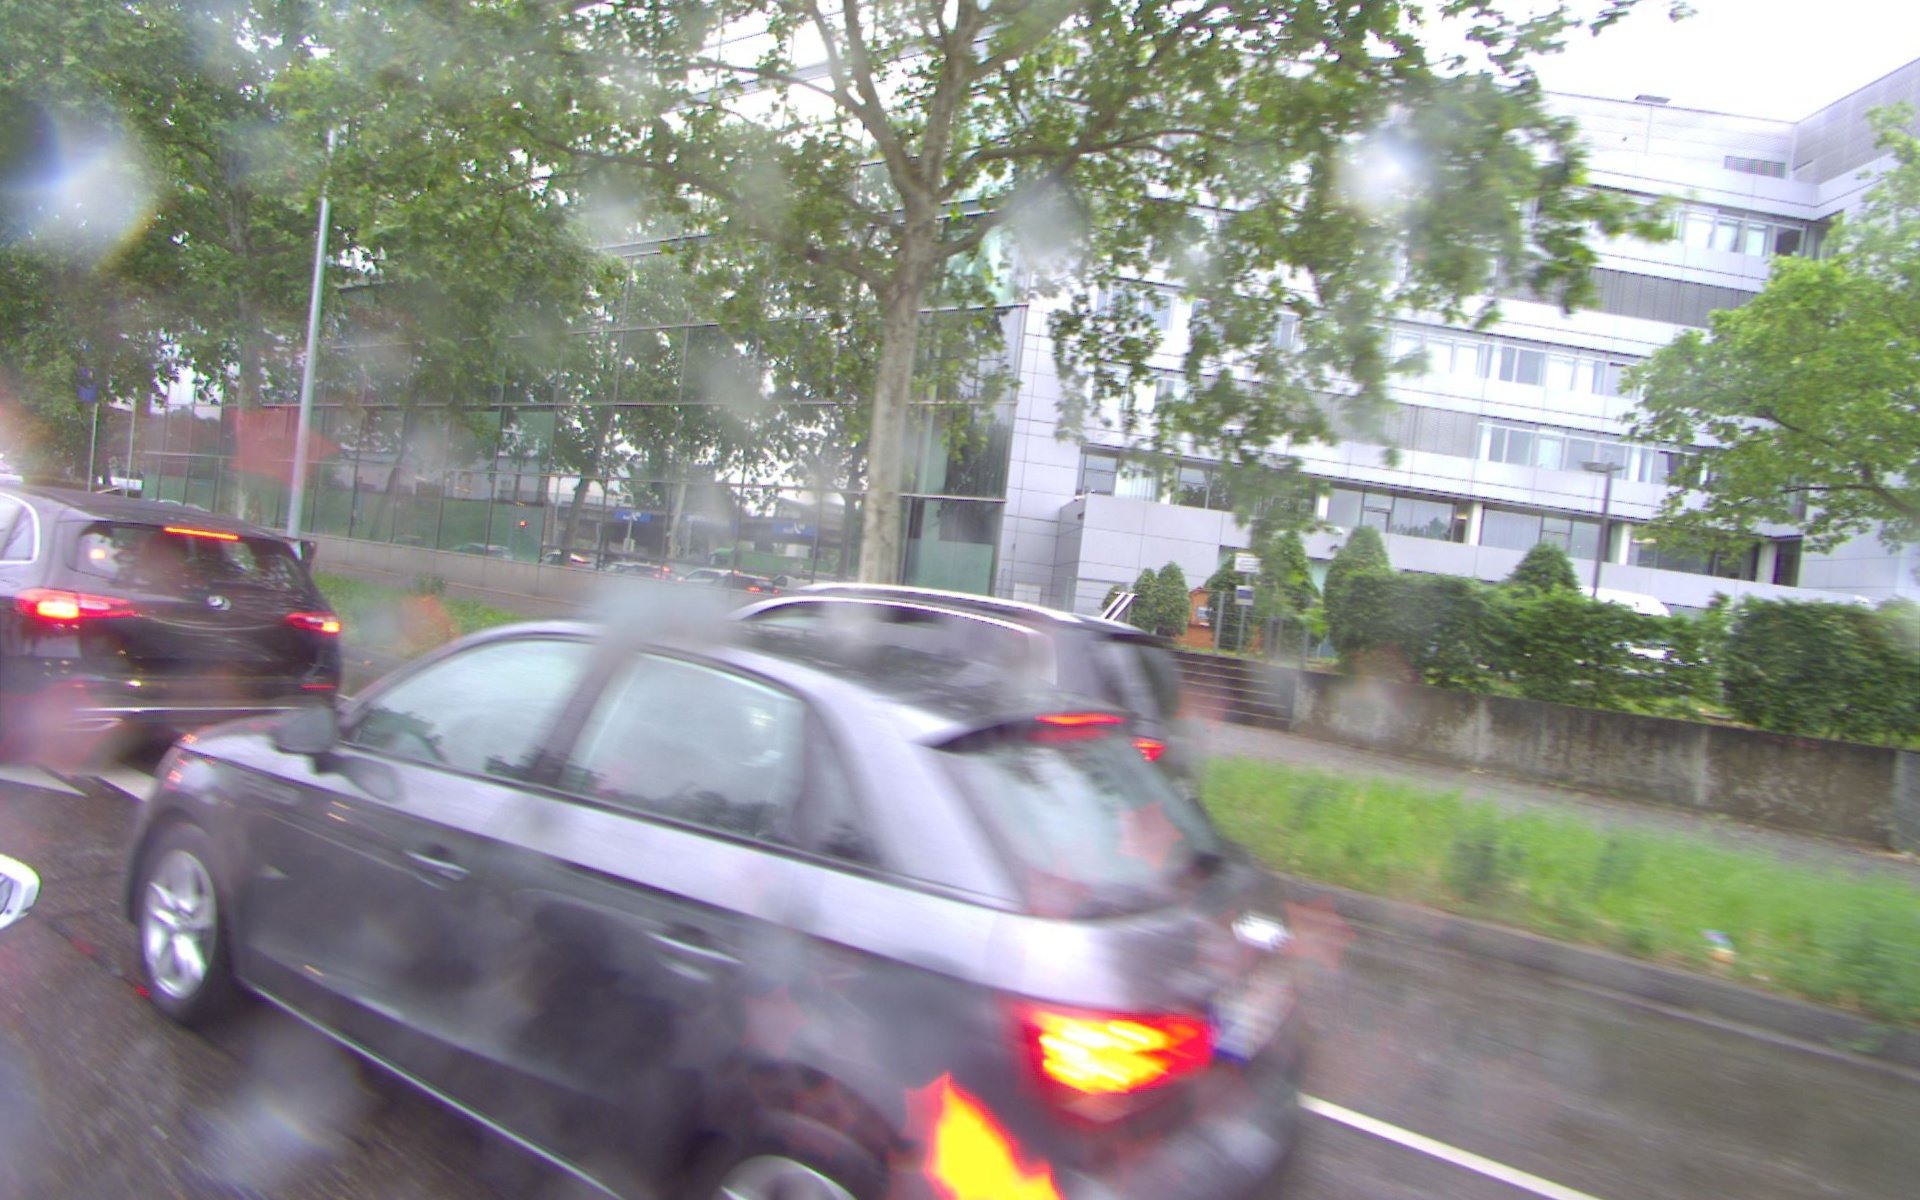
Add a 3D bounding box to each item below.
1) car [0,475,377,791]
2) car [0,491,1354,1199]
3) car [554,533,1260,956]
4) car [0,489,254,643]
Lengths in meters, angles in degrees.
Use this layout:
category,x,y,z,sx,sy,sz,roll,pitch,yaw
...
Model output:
category,x,y,z,sx,sy,sz,roll,pitch,yaw
car,-5.988,0.023,6.778,3.932,1.568,1.712,8,0,30
car,-1.033,0.650,3.246,3.932,1.469,1.998,7,-1,30
car,-0.427,0.691,6.582,4.120,1.746,1.860,6,-1,30
car,-11.306,-0.497,13.088,4.042,1.555,1.843,6,-1,30
